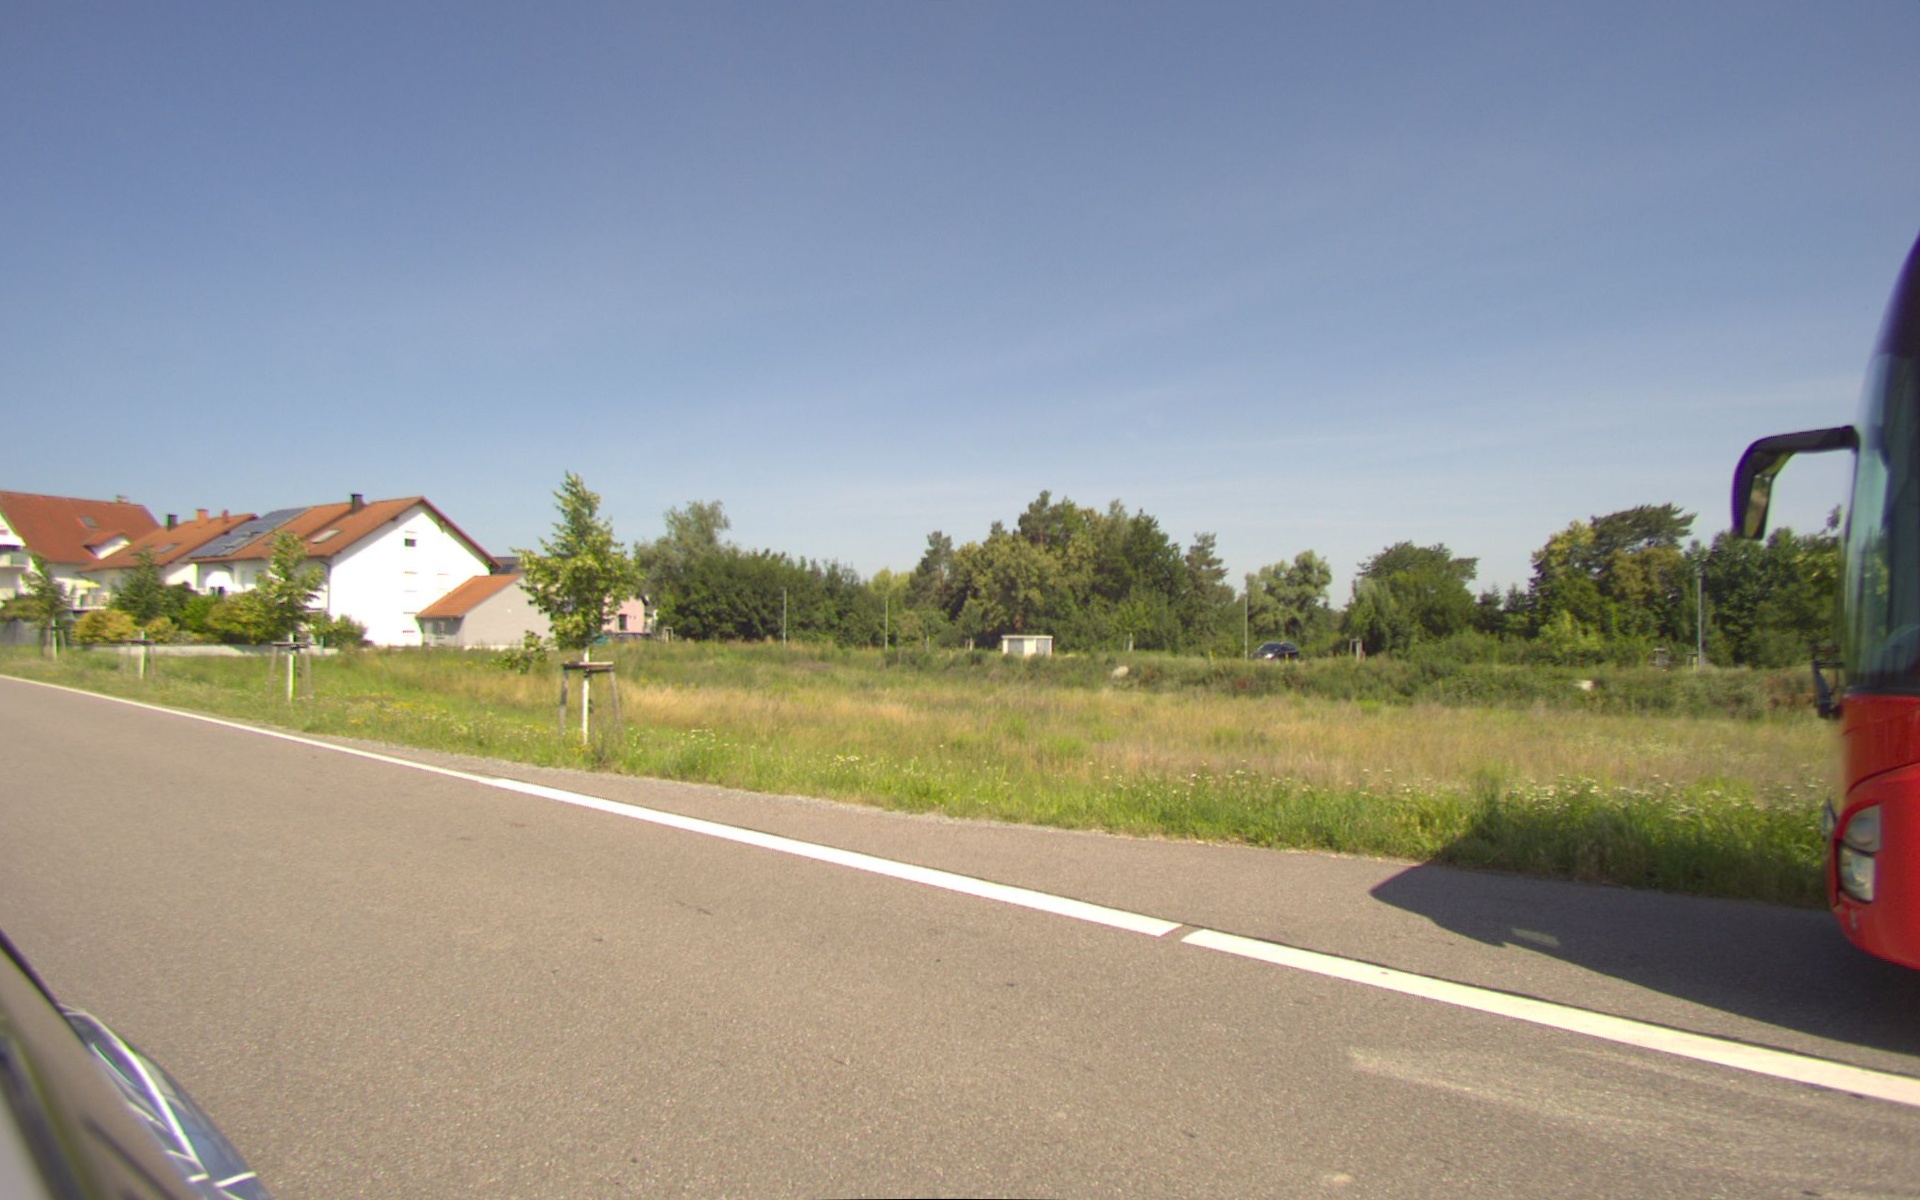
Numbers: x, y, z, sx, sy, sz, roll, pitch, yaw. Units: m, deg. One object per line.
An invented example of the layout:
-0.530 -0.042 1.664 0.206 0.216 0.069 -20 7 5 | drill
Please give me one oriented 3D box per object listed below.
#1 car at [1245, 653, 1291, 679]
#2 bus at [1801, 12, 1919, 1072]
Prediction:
19.720 4.221 64.742 1.511 1.547 3.508 -1 -3 40 | car
8.375 -0.287 0.436 12.218 3.312 2.766 -2 -3 40 | bus
